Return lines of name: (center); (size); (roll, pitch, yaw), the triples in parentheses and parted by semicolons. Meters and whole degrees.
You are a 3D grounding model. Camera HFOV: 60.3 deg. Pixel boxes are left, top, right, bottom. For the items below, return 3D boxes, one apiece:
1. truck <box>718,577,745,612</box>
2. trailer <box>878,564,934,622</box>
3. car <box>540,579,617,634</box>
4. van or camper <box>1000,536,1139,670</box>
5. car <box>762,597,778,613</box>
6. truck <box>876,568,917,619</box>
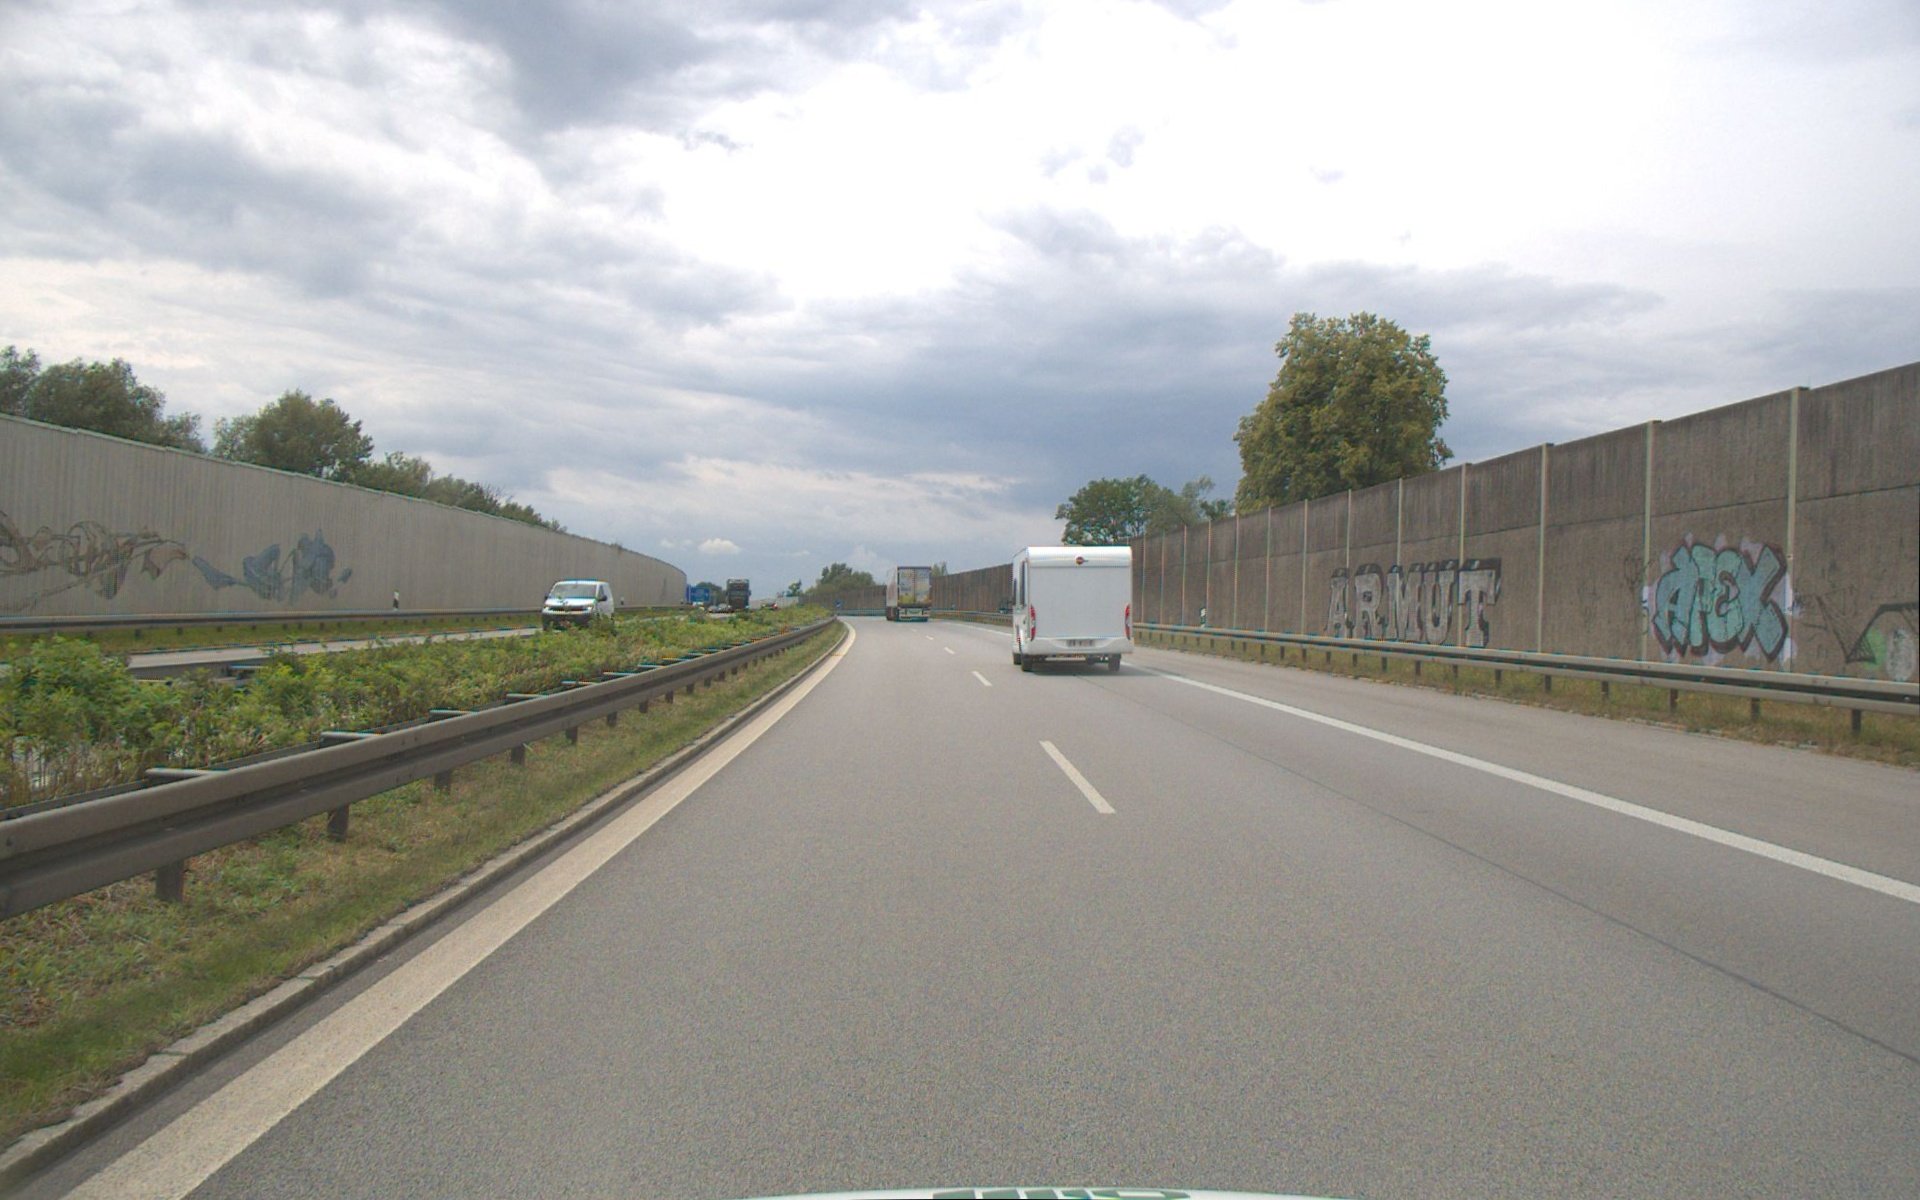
truck: (-26.750, -0.605, 193.875); (2.818, 3.926, 6.067); (-1, 0, -6)
trailer: (-4.307, -0.545, 128.974); (2.740, 4.248, 14.076); (1, 0, -8)
car: (-12.769, 0.198, 55.623); (1.706, 1.775, 4.625); (0, 0, -2)
van or camper: (2.365, 0.080, 38.010); (2.380, 2.744, 7.221); (1, 0, -3)
car: (-20.516, 0.576, 178.901); (1.683, 1.670, 4.697); (1, 0, -7)
truck: (-5.243, -0.458, 135.275); (2.705, 4.029, 5.664); (0, -1, -9)
